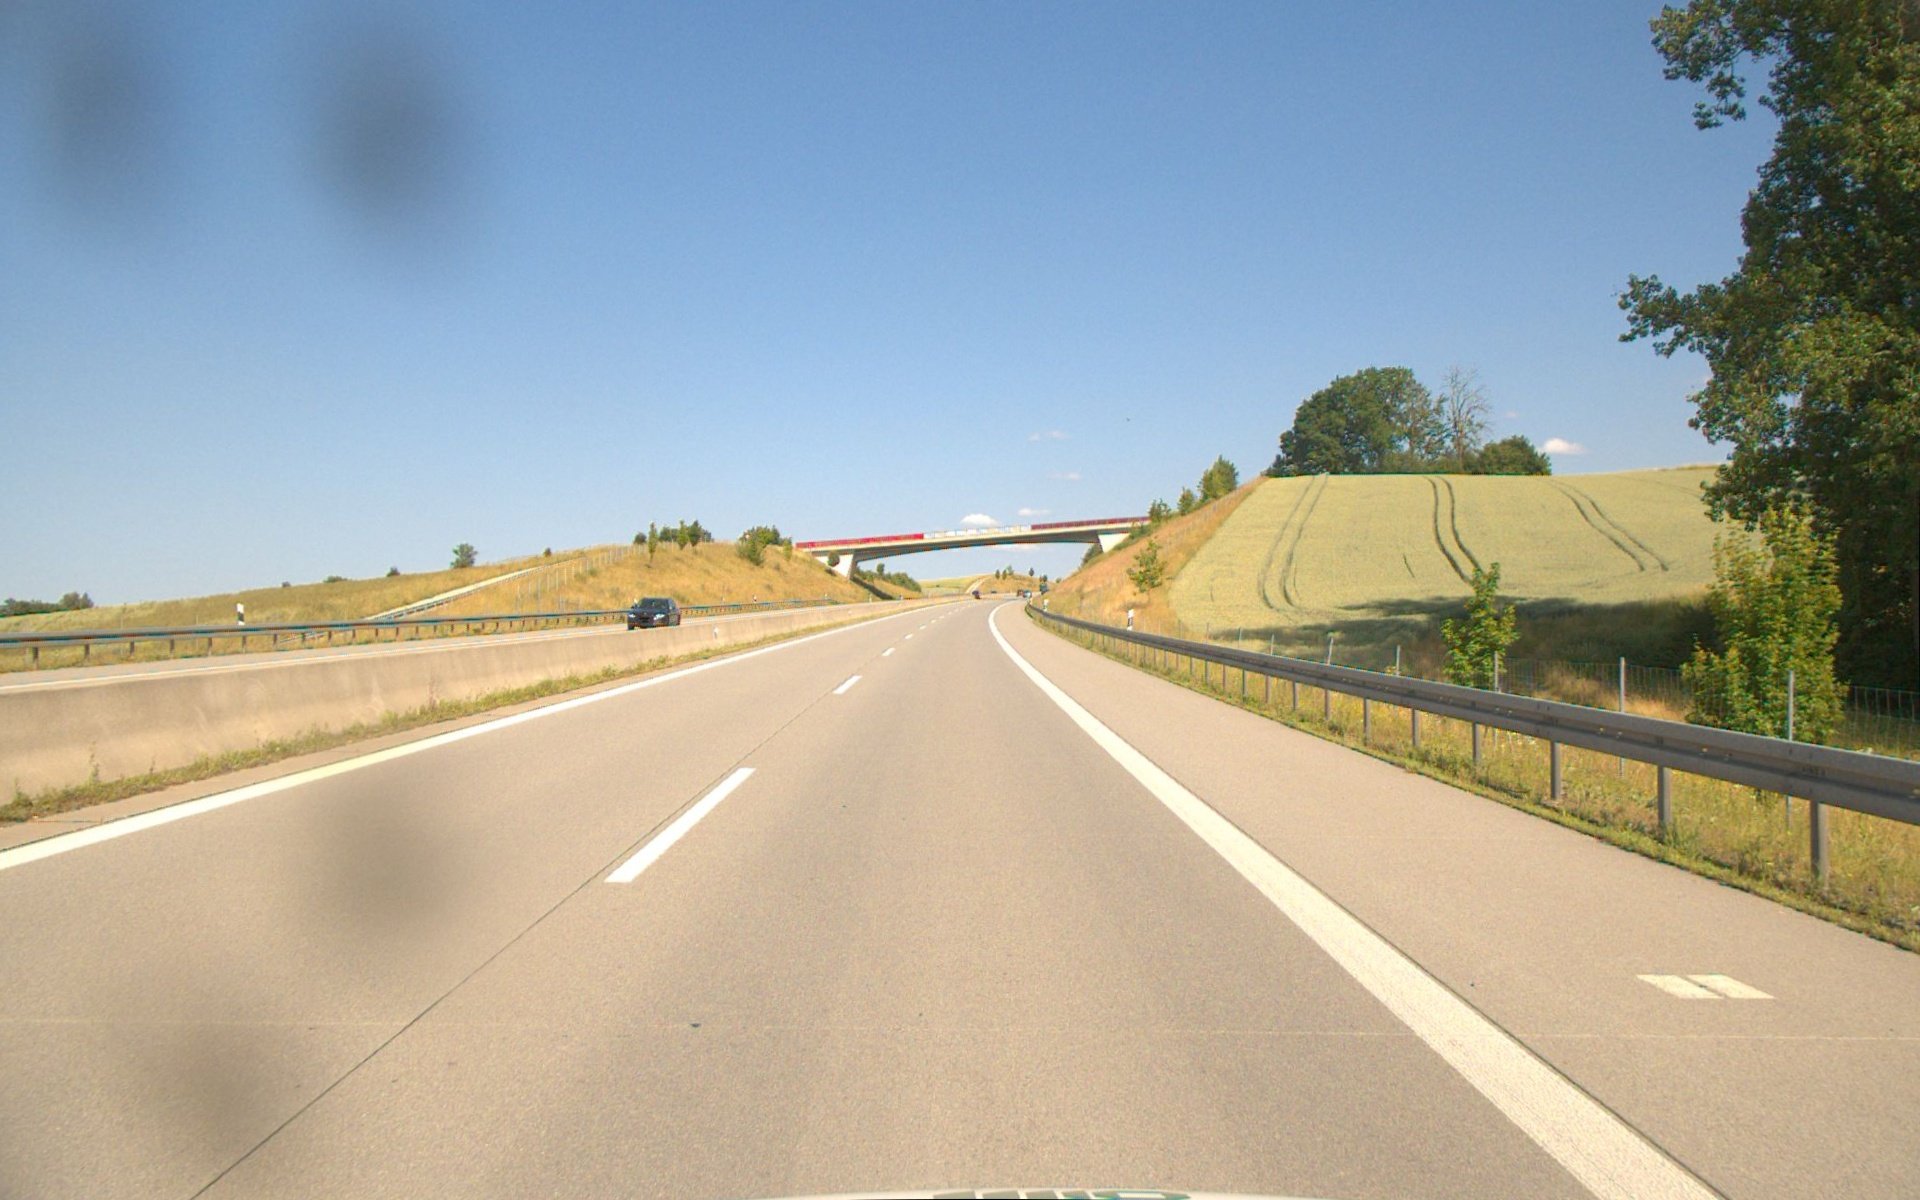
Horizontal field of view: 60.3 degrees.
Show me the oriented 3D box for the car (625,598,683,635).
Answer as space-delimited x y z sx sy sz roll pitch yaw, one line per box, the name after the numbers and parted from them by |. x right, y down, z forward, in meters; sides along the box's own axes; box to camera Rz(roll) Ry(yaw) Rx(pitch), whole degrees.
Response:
-14.211 0.777 76.973 1.775 1.643 4.676 1 -1 1 | car
